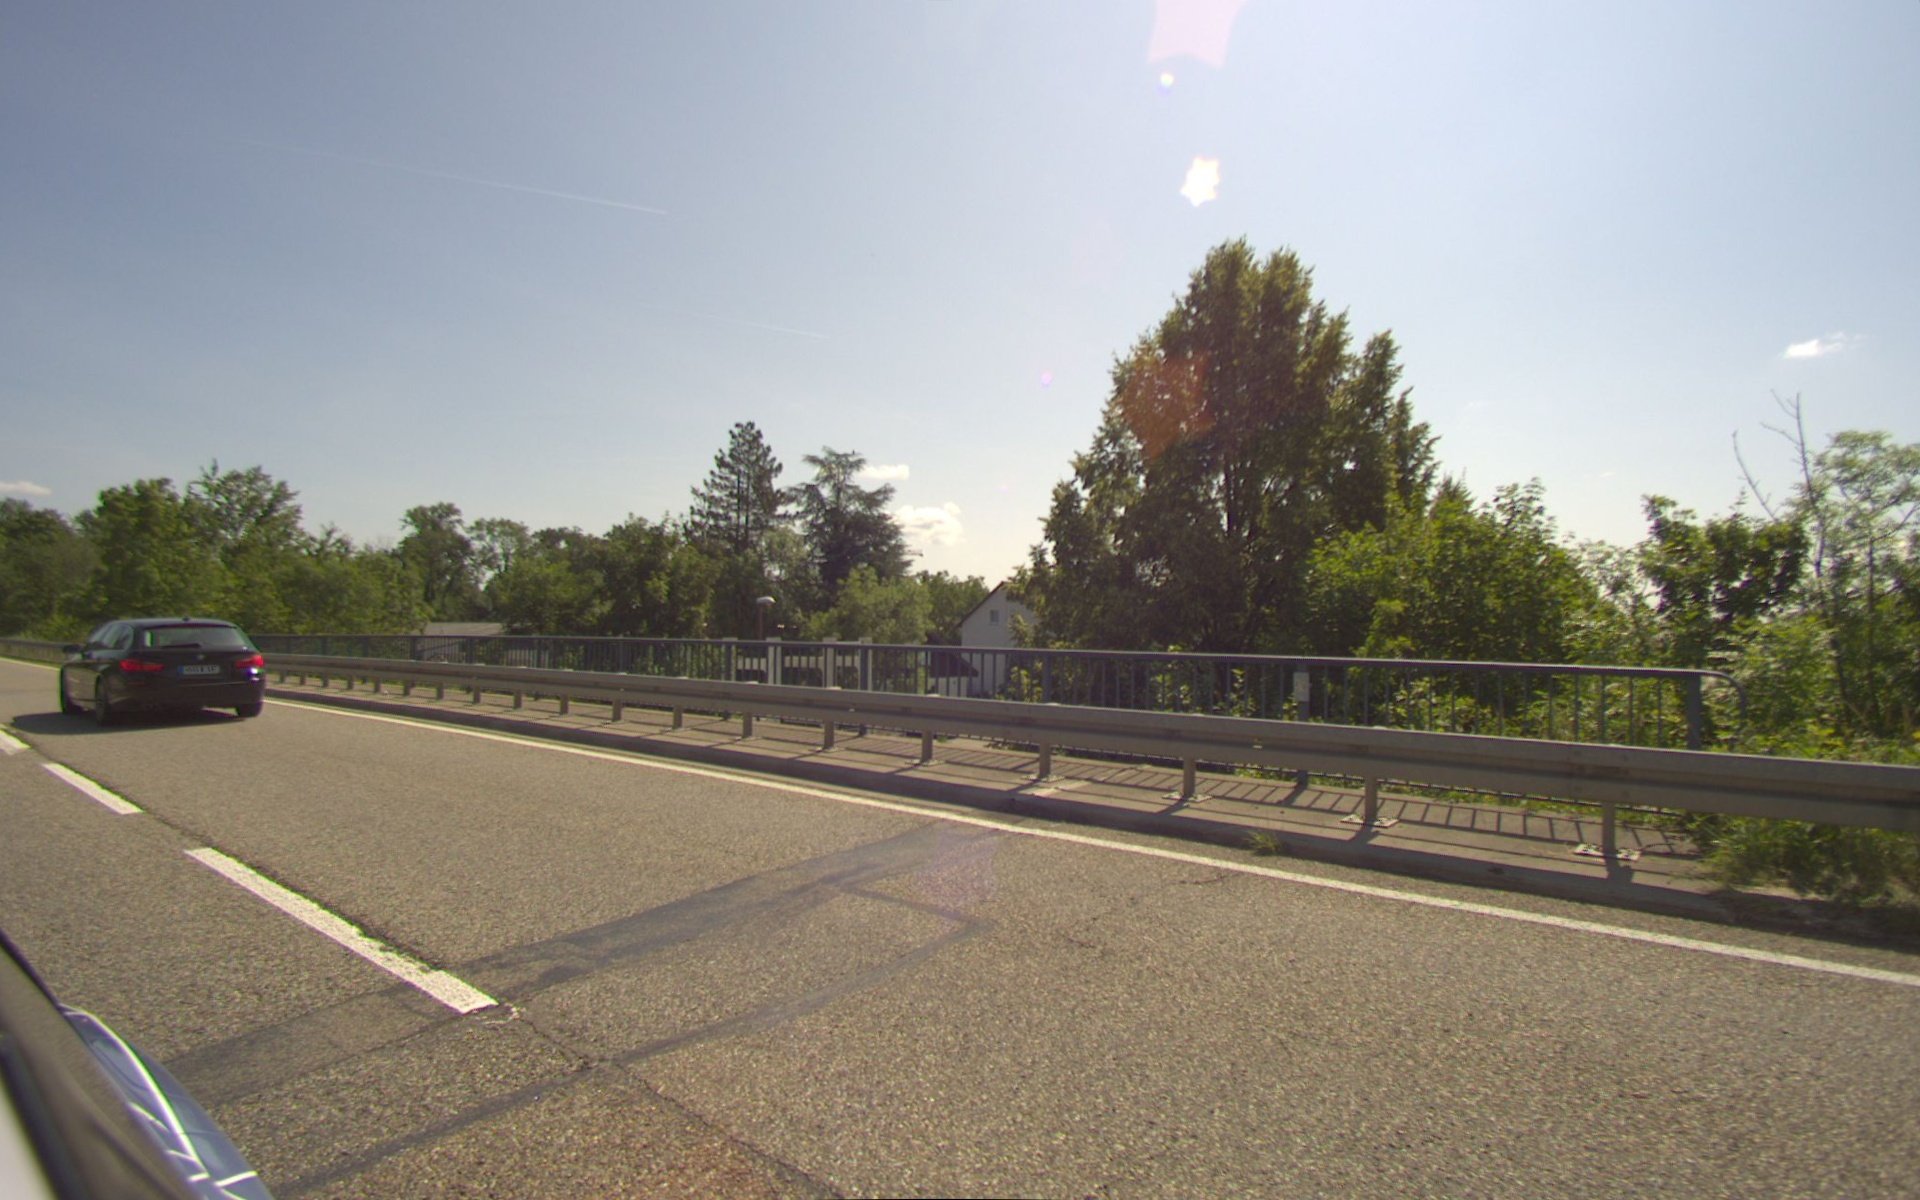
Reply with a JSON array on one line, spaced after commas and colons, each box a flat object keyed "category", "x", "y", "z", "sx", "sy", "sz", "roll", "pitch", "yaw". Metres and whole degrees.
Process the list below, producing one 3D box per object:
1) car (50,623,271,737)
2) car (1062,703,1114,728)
[{"category": "car", "x": -11.887, "y": 1.065, "z": 14.930, "sx": 4.675, "sy": 1.436, "sz": 1.728, "roll": -2, "pitch": -2, "yaw": 41}, {"category": "car", "x": 10.421, "y": 9.399, "z": 82.558, "sx": 3.975, "sy": 1.696, "sz": 1.680, "roll": -2, "pitch": -5, "yaw": 44}]
